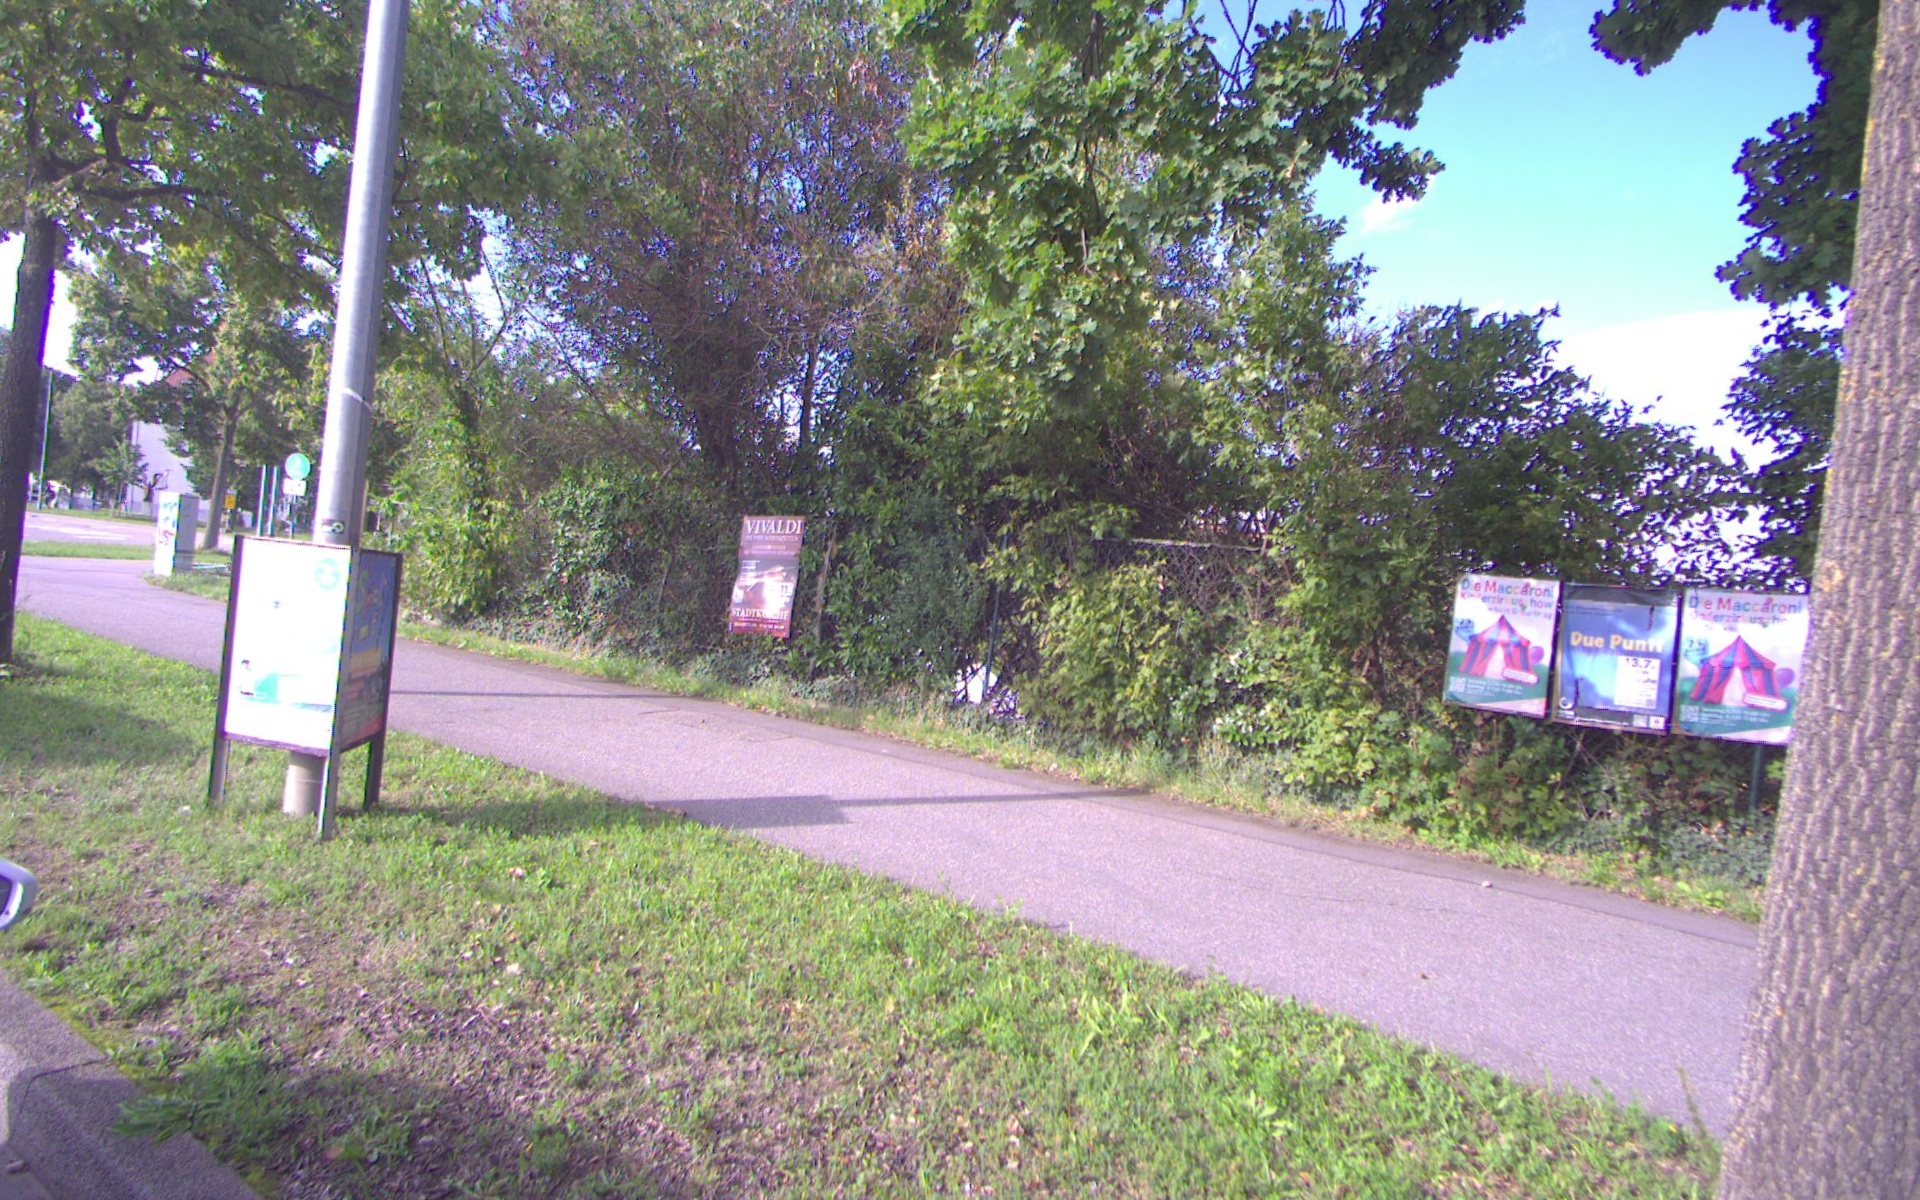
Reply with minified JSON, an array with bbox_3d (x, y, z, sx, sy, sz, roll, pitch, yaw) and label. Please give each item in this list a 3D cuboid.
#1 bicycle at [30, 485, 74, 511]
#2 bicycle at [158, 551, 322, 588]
[{"bbox_3d":[-67.450,-7.555,74.737,2.247,1.548,0.896,7,-1,2],"label":"bicycle"},{"bbox_3d":[-13.952,-0.586,19.519,2.529,0.390,1.411,7,0,21],"label":"bicycle"}]
